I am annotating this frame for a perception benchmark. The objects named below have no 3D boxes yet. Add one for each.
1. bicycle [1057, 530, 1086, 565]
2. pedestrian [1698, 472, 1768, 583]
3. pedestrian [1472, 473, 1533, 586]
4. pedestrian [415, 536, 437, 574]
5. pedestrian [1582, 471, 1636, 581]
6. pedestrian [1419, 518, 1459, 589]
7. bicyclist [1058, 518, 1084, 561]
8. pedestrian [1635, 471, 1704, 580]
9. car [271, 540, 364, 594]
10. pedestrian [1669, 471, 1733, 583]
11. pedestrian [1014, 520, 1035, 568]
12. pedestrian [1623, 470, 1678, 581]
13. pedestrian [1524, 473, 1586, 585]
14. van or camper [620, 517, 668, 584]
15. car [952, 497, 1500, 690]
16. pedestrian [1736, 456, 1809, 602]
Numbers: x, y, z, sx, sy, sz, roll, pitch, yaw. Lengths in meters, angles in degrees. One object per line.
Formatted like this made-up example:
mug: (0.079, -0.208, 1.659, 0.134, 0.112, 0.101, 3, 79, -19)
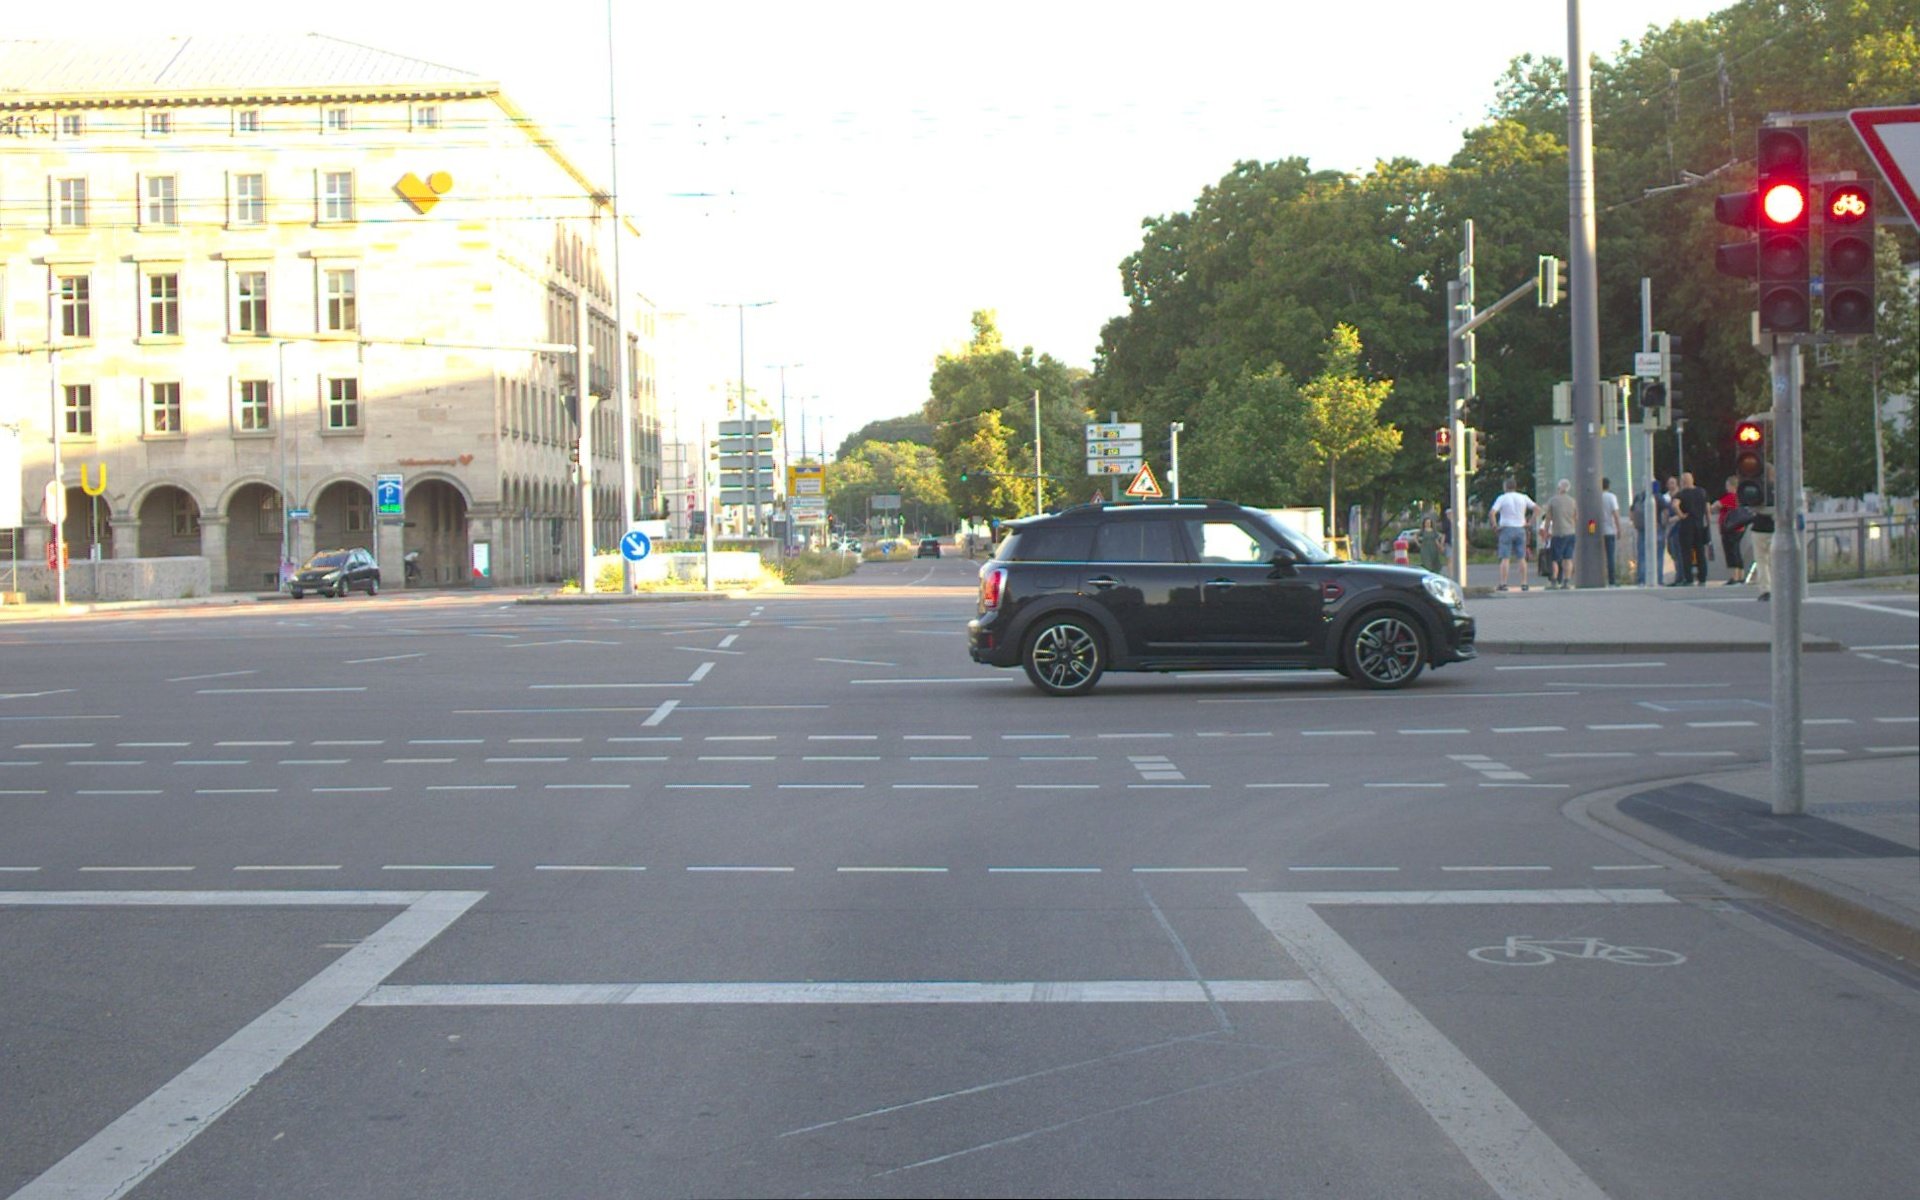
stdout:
bicycle: (3.186, -1.489, 97.966, 0.651, 0.967, 1.485, -1, 2, -4)
pedestrian: (12.204, -1.148, 54.282, 0.685, 1.724, 0.811, -2, 2, -26)
pedestrian: (8.467, -1.101, 53.672, 0.808, 1.724, 0.688, -1, 1, -2)
pedestrian: (-21.918, -1.843, 141.054, 0.772, 1.562, 0.636, -1, 1, -1)
pedestrian: (10.301, -1.172, 54.553, 0.808, 1.724, 0.687, -1, 1, 12)
pedestrian: (11.803, -1.156, 84.696, 0.808, 1.724, 0.929, -1, 1, -2)
bicyclist: (3.163, -1.724, 97.941, 0.651, 1.219, 0.861, -1, 1, -4)
pedestrian: (11.394, -1.191, 55.193, 0.686, 1.724, 0.811, -2, 2, -33)
car: (-21.026, -1.111, 112.689, 1.994, 1.656, 4.000, -1, 2, 4)
pedestrian: (11.587, -1.140, 53.788, 0.808, 1.724, 0.688, -1, 1, -1)
pedestrian: (1.836, -1.596, 97.738, 0.522, 1.369, 0.688, -1, 1, -4)
pedestrian: (10.838, -1.169, 53.943, 0.808, 1.724, 0.687, -1, 1, 12)
pedestrian: (9.291, -1.112, 53.698, 0.808, 1.724, 0.688, -1, 1, -2)
van or camper: (-13.575, -2.151, 147.514, 1.883, 2.751, 4.933, -1, 2, -6)
car: (2.194, -0.086, 29.364, 4.460, 1.490, 2.128, -1, 2, -1)
pedestrian: (9.811, -0.860, 41.532, 0.692, 1.724, 0.741, -1, 1, 1)
